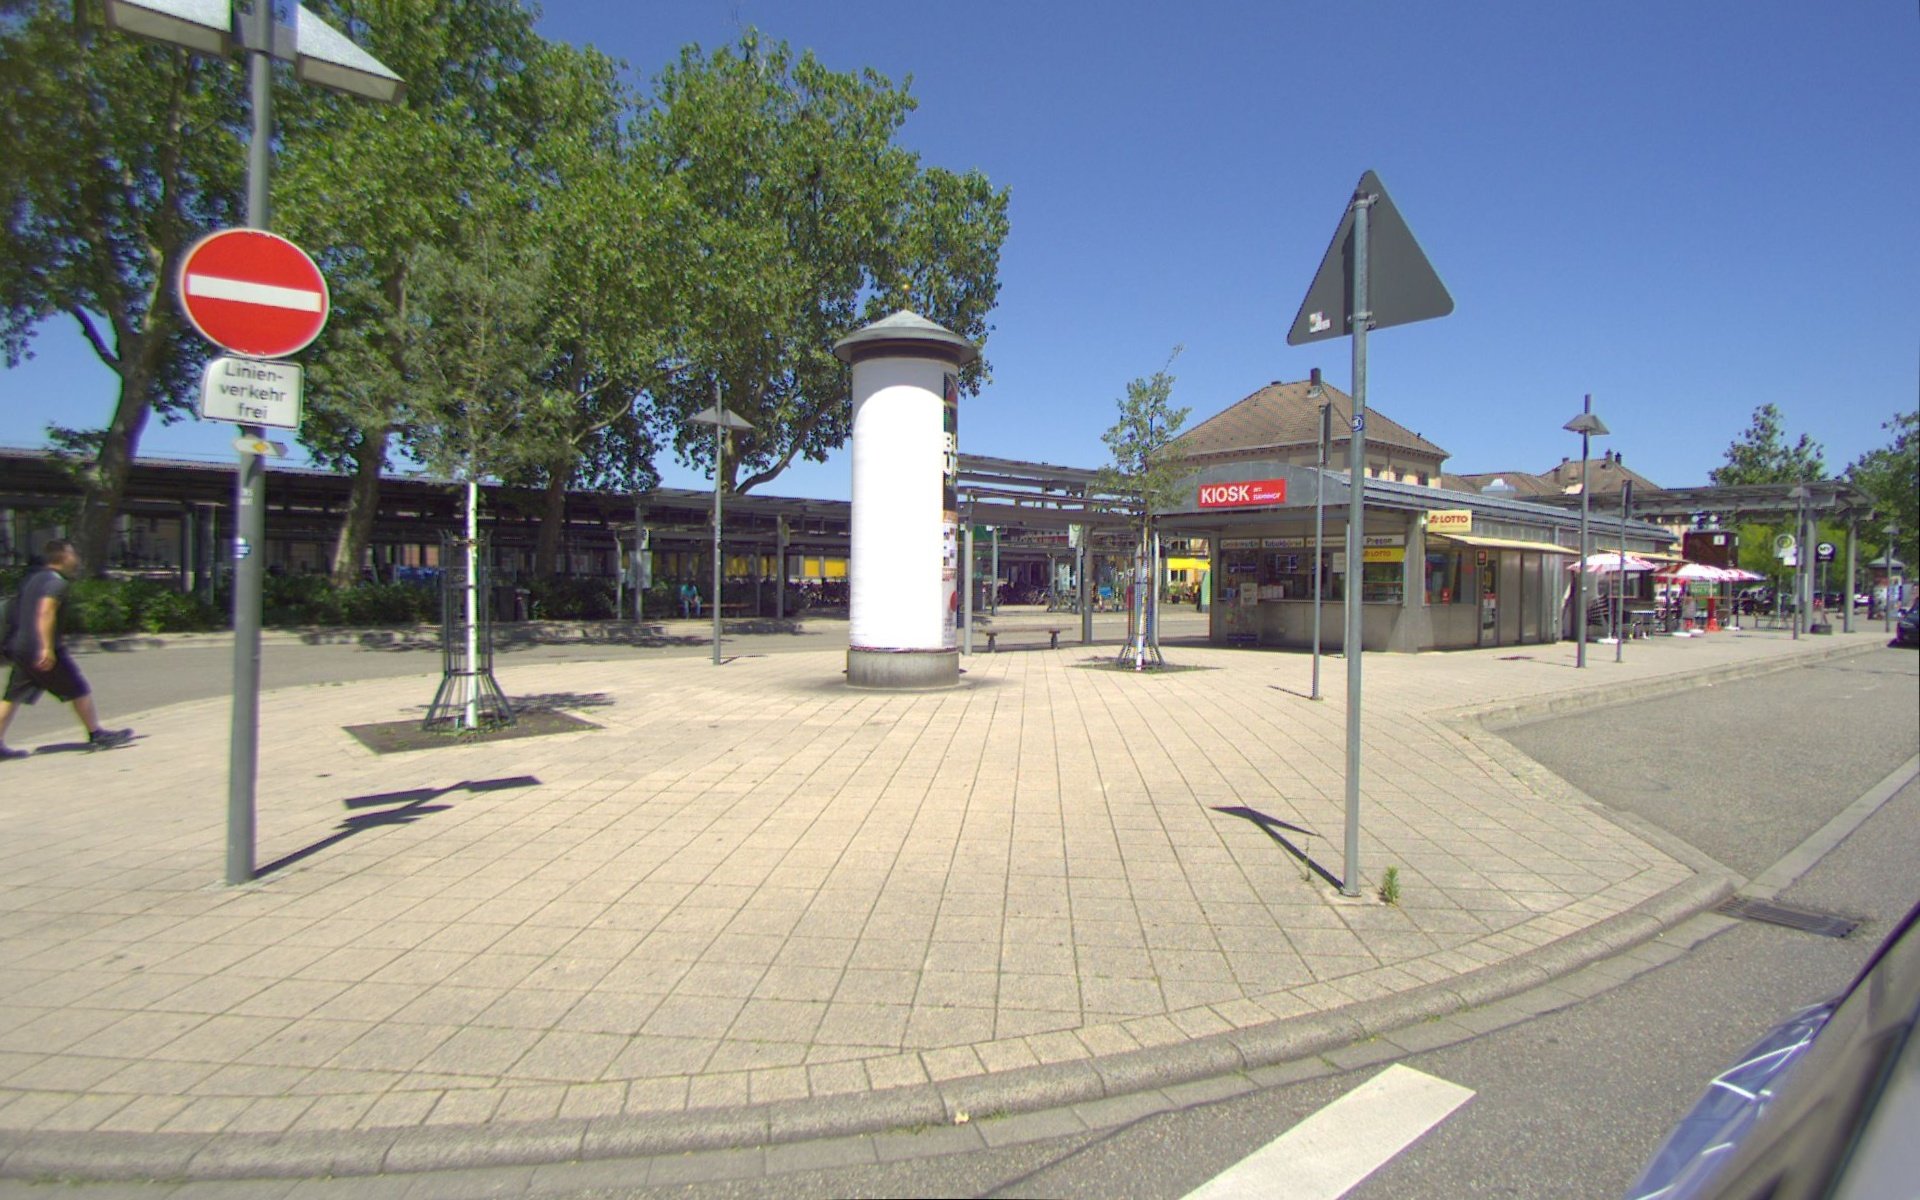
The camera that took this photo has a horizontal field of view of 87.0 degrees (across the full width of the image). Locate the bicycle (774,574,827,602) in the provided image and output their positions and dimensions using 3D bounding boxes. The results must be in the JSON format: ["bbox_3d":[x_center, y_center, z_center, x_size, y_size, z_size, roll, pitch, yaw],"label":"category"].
[{"bbox_3d":[-6.783,-0.524,43.150,2.130,1.086,0.670,-4,5,-36],"label":"bicycle"}]

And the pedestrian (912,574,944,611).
[{"bbox_3d":[-1.247,-0.310,39.123,0.816,1.403,0.962,0,1,-39],"label":"pedestrian"}]

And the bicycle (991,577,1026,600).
[{"bbox_3d":[2.515,-0.616,52.811,0.658,1.086,2.170,-4,5,-35],"label":"bicycle"}]

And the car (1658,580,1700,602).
[{"bbox_3d":[62.912,-0.800,88.526,3.929,1.903,1.998,-1,1,-40],"label":"car"}]

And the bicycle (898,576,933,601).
[{"bbox_3d":[-2.216,-0.597,50.317,0.658,1.086,2.170,-4,5,-35],"label":"bicycle"}]

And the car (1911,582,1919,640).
[{"bbox_3d":[28.240,0.317,28.351,4.108,1.564,1.778,-1,3,-40],"label":"car"}]

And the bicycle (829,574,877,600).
[{"bbox_3d":[-4.950,-0.610,46.940,2.130,1.086,0.670,-4,5,-36],"label":"bicycle"}]

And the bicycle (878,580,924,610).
[{"bbox_3d":[-2.442,-0.238,41.384,0.659,1.086,2.166,-5,6,-42],"label":"bicycle"}]

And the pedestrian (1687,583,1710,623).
[{"bbox_3d":[23.282,0.084,31.909,0.502,1.247,0.505,1,1,45],"label":"pedestrian"}]

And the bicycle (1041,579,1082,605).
[{"bbox_3d":[4.794,-0.399,48.010,0.658,1.086,2.170,-4,5,-35],"label":"bicycle"}]

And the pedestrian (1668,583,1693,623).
[{"bbox_3d":[22.784,0.090,31.996,0.463,1.226,0.490,0,1,-33],"label":"pedestrian"}]

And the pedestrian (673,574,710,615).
[{"bbox_3d":[-8.705,-0.181,32.789,0.853,1.291,0.829,0,1,-43],"label":"pedestrian"}]

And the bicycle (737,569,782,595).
[{"bbox_3d":[-8.902,-0.810,44.917,2.158,1.086,0.662,3,5,38],"label":"bicycle"}]

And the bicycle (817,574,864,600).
[{"bbox_3d":[-5.637,-0.612,47.922,2.130,1.086,0.670,-4,5,-36],"label":"bicycle"}]

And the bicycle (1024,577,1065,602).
[{"bbox_3d":[4.284,-0.549,51.261,2.130,1.086,0.670,-4,5,-36],"label":"bicycle"}]

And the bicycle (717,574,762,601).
[{"bbox_3d":[-9.646,-0.555,44.223,2.158,1.086,0.662,3,5,38],"label":"bicycle"}]

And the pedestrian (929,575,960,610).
[{"bbox_3d":[-0.605,-0.308,39.735,0.816,1.321,0.962,0,1,-39],"label":"pedestrian"}]

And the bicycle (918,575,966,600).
[{"bbox_3d":[-0.867,-0.608,48.405,2.154,1.086,0.854,2,5,33],"label":"bicycle"}]

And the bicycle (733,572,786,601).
[{"bbox_3d":[-8.537,-0.575,43.141,2.130,1.086,0.670,-4,5,-36],"label":"bicycle"}]

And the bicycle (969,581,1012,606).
[{"bbox_3d":[1.476,-0.334,49.091,2.130,1.086,0.670,-4,5,-36],"label":"bicycle"}]

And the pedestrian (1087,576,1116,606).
[{"bbox_3d":[6.367,-0.419,45.584,0.816,1.321,0.962,0,1,-39],"label":"pedestrian"}]

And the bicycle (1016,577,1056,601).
[{"bbox_3d":[3.925,-0.590,51.885,2.130,1.086,0.670,-4,5,-36],"label":"bicycle"}]

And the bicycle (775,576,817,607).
[{"bbox_3d":[-6.718,-0.358,41.588,0.662,1.086,2.155,1,5,22],"label":"bicycle"}]

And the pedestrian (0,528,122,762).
[{"bbox_3d":[-7.452,0.340,8.228,0.897,1.807,0.695,0,1,-33],"label":"pedestrian"}]
